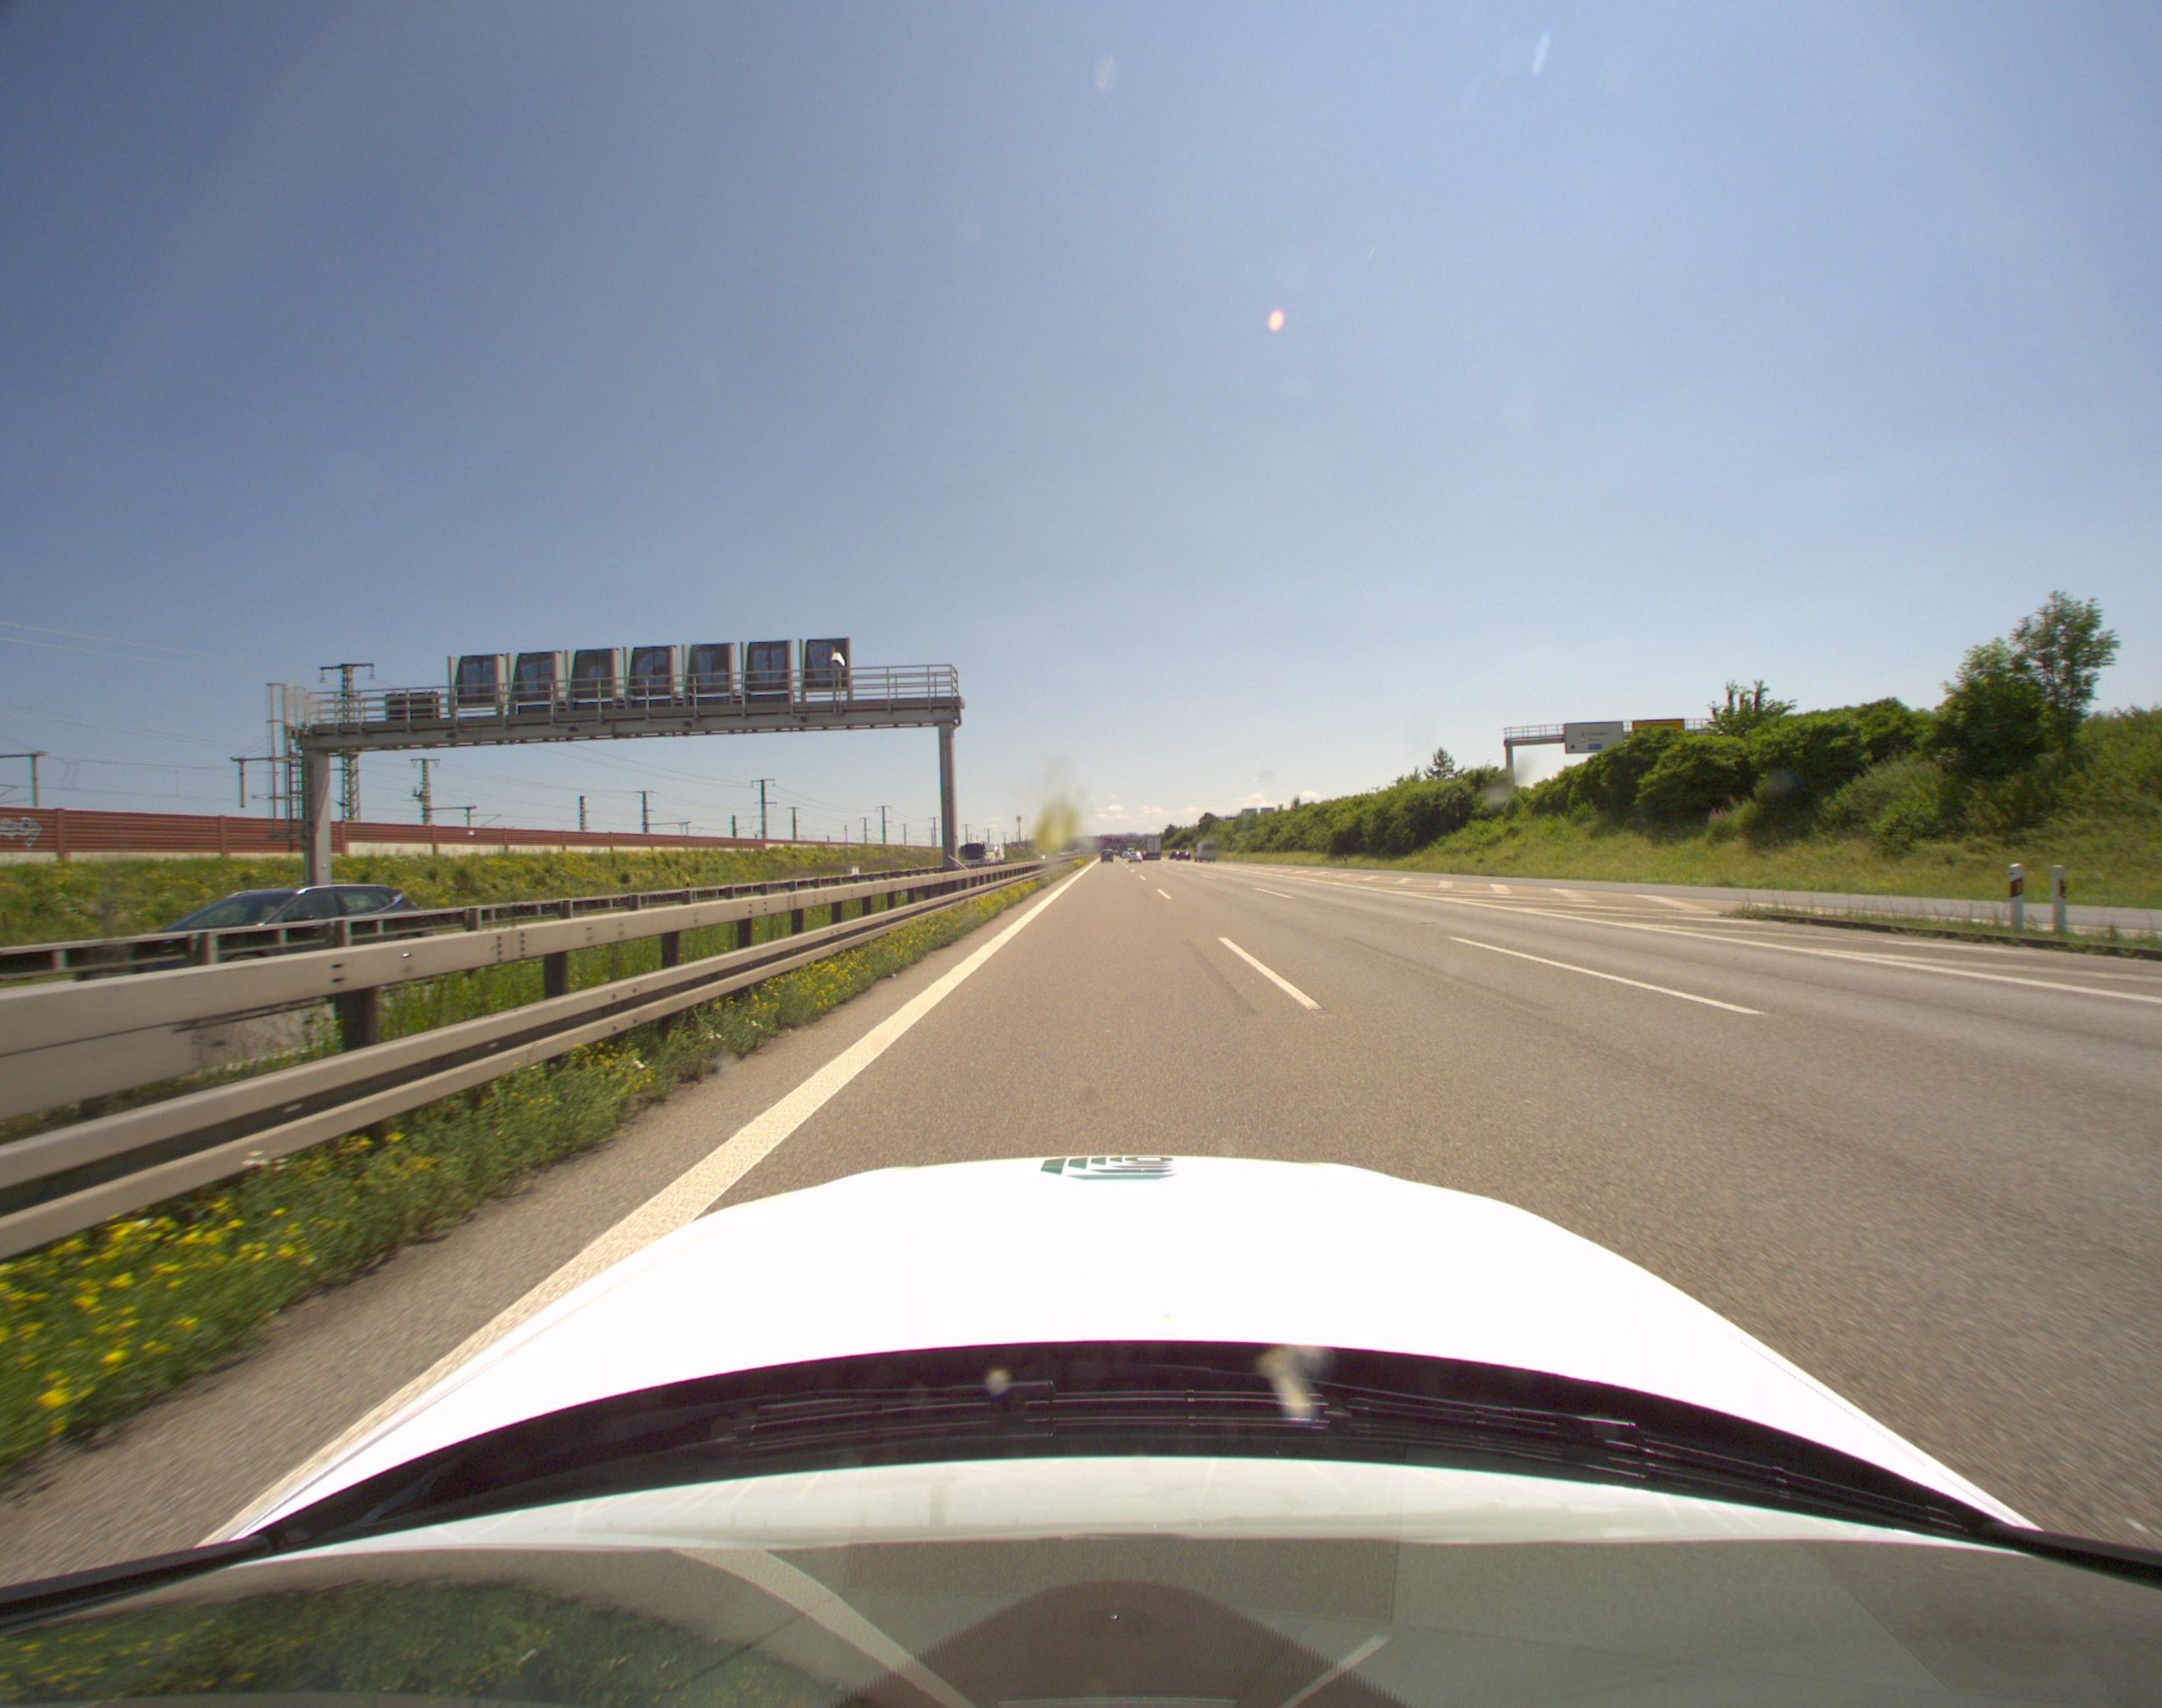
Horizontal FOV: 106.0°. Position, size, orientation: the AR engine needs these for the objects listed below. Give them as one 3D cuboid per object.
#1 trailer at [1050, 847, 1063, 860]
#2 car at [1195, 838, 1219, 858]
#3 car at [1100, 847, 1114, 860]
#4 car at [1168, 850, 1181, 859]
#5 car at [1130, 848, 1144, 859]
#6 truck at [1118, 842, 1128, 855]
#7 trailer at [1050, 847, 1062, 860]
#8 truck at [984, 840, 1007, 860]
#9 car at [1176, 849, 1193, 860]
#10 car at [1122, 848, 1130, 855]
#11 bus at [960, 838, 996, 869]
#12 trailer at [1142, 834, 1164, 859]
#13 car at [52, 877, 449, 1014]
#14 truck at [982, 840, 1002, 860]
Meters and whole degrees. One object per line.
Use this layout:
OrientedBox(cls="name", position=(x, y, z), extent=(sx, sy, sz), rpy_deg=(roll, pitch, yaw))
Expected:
OrientedBox(cls="trailer", position=(-7.332, -0.168, 249.122), extent=(3.039, 3.867, 15.982), rpy_deg=(-2, 0, 2))
OrientedBox(cls="car", position=(16.384, -0.725, 106.270), extent=(2.266, 2.528, 5.400), rpy_deg=(-1, 0, 1))
OrientedBox(cls="car", position=(3.782, -0.077, 117.581), extent=(1.873, 1.775, 4.002), rpy_deg=(-2, -1, 2))
OrientedBox(cls="car", position=(16.581, 0.094, 144.100), extent=(1.986, 1.596, 4.001), rpy_deg=(0, -1, 1))
OrientedBox(cls="car", position=(7.705, -0.051, 111.876), extent=(1.872, 1.526, 4.005), rpy_deg=(-1, -1, 5))
OrientedBox(cls="truck", position=(11.454, -1.583, 222.595), extent=(2.346, 3.416, 6.060), rpy_deg=(-1, 0, 2))
OrientedBox(cls="trailer", position=(-7.510, -0.159, 242.213), extent=(3.039, 3.867, 7.206), rpy_deg=(-2, 0, 1))
OrientedBox(cls="truck", position=(-14.884, -0.674, 141.830), extent=(2.846, 3.466, 7.784), rpy_deg=(0, 0, 2))
OrientedBox(cls="car", position=(15.848, 0.061, 124.682), extent=(1.987, 1.508, 3.998), rpy_deg=(0, -1, -1))
OrientedBox(cls="car", position=(9.851, -0.498, 178.753), extent=(1.873, 1.526, 4.003), rpy_deg=(-1, -1, 3))
OrientedBox(cls="bus", position=(-12.933, -0.099, 103.613), extent=(2.846, 3.645, 10.945), rpy_deg=(0, 0, 2))
OrientedBox(cls="trailer", position=(12.386, -1.283, 140.946), extent=(3.165, 4.059, 9.444), rpy_deg=(-2, 0, 2))
OrientedBox(cls="car", position=(-12.116, 1.218, 12.356), extent=(1.797, 1.574, 4.002), rpy_deg=(-1, 0, 2))
OrientedBox(cls="truck", position=(-15.017, -0.672, 138.108), extent=(2.837, 3.466, 4.025), rpy_deg=(0, 0, 2))
